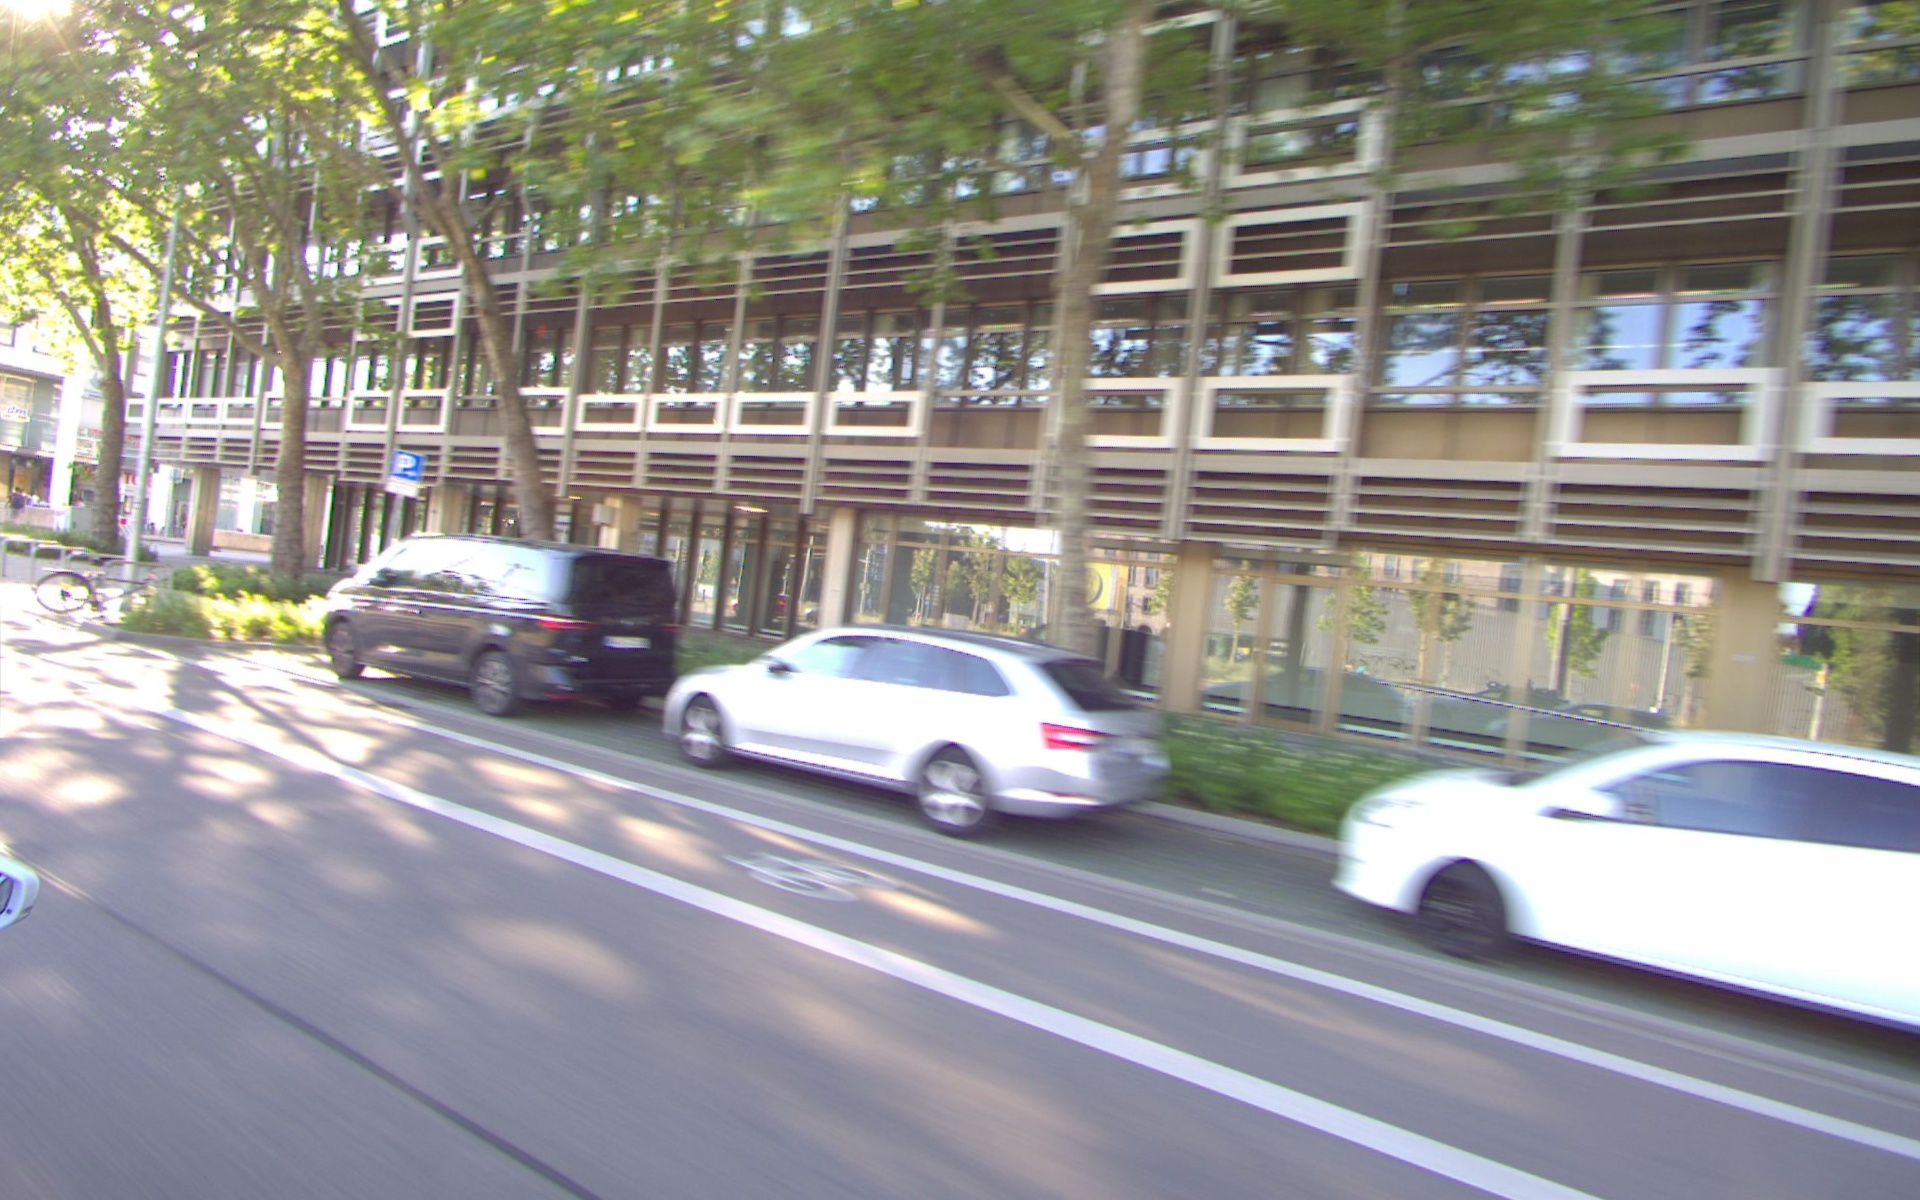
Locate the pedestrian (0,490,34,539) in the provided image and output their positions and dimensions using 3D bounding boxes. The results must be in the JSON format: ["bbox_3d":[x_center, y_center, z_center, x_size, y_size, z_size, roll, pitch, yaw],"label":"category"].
[{"bbox_3d":[-37.094,-3.360,39.361,1.095,1.723,0.910,7,0,32],"label":"pedestrian"}]

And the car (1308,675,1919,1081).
[{"bbox_3d":[4.256,1.461,5.880,3.810,1.497,1.682,7,2,32],"label":"car"}]

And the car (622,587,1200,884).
[{"bbox_3d":[-0.653,0.928,8.793,4.979,1.534,1.681,7,2,35],"label":"car"}]

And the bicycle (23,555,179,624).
[{"bbox_3d":[-12.975,-0.143,15.238,0.564,0.878,1.690,7,1,39],"label":"bicycle"}]

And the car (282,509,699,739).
[{"bbox_3d":[-5.749,0.157,12.047,5.233,1.996,1.830,7,2,31],"label":"car"}]
